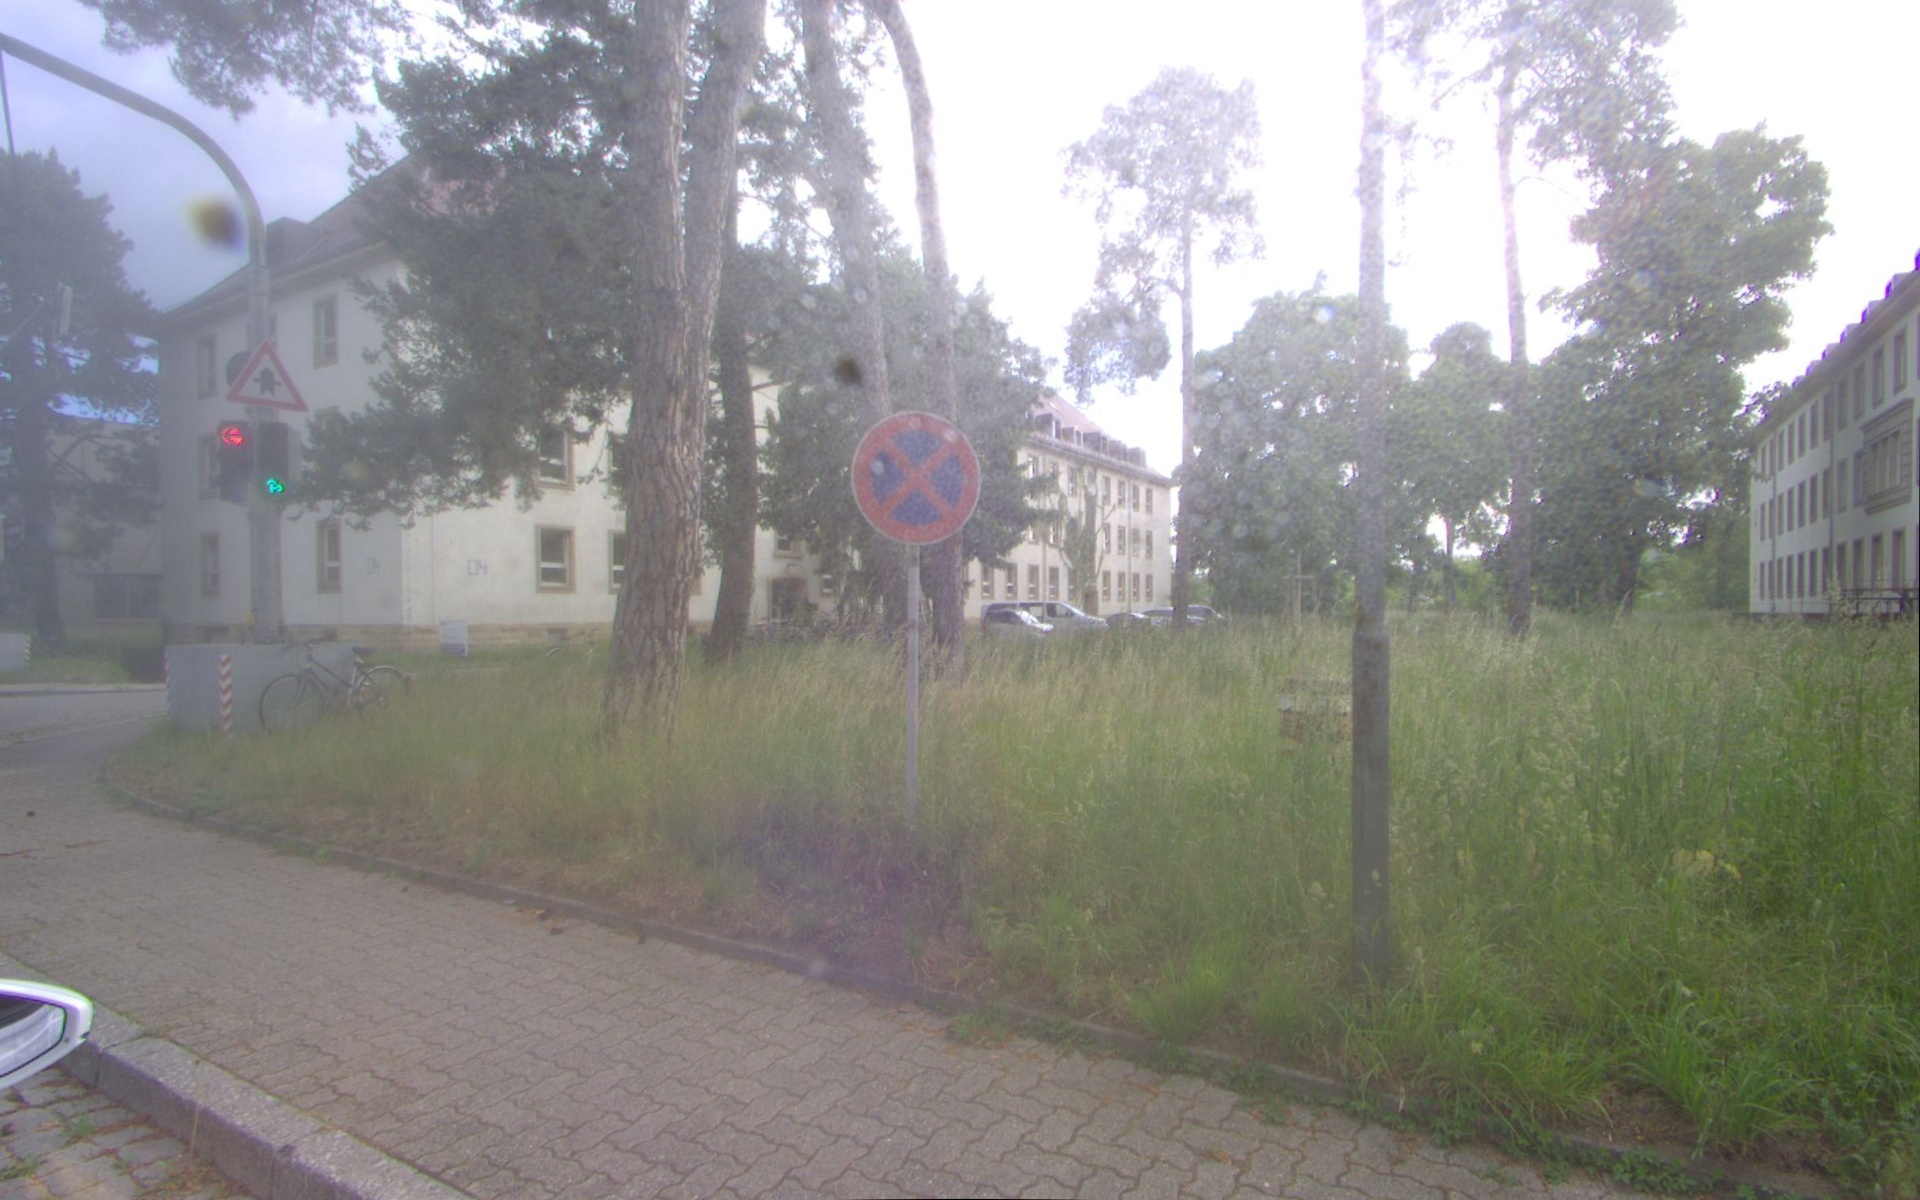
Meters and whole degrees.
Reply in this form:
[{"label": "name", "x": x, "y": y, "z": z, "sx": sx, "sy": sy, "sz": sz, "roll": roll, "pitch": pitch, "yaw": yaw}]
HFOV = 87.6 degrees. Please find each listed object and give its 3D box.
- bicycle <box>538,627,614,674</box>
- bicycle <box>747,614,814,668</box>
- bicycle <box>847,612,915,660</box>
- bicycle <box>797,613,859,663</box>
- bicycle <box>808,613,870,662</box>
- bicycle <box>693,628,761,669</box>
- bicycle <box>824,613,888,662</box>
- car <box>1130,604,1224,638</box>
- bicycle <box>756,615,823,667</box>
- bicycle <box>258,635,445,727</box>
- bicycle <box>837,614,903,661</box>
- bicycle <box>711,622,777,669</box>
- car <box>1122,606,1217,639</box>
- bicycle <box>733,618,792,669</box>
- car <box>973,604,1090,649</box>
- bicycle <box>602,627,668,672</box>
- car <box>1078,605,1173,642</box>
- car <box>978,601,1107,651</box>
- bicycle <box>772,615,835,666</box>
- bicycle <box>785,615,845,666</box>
[{"label": "bicycle", "x": -8.541, "y": 1.110, "z": 22.350, "sx": 0.522, "sy": 0.993, "sz": 1.618, "roll": 0, "pitch": 0, "yaw": 31}, {"label": "bicycle", "x": -4.649, "y": 1.042, "z": 25.850, "sx": 2.021, "sy": 1.337, "sz": 0.436, "roll": 0, "pitch": 0, "yaw": 37}, {"label": "bicycle", "x": -2.368, "y": 1.048, "z": 29.831, "sx": 2.075, "sy": 1.385, "sz": 0.755, "roll": 0, "pitch": 0, "yaw": 37}, {"label": "bicycle", "x": -3.666, "y": 1.025, "z": 27.754, "sx": 1.829, "sy": 1.337, "sz": 0.553, "roll": 0, "pitch": 0, "yaw": 37}, {"label": "bicycle", "x": -3.435, "y": 1.040, "z": 28.327, "sx": 1.913, "sy": 1.337, "sz": 0.551, "roll": 0, "pitch": 0, "yaw": 37}, {"label": "bicycle", "x": -5.705, "y": 1.170, "z": 24.465, "sx": 1.877, "sy": 0.961, "sz": 0.539, "roll": 0, "pitch": 0, "yaw": 37}, {"label": "bicycle", "x": -2.990, "y": 1.057, "z": 28.713, "sx": 1.989, "sy": 1.337, "sz": 0.538, "roll": 0, "pitch": 0, "yaw": 37}, {"label": "car", "x": 11.858, "y": 1.114, "z": 54.815, "sx": 4.629, "sy": 1.796, "sz": 1.989, "roll": 0, "pitch": 0, "yaw": 33}, {"label": "bicycle", "x": -4.515, "y": 1.060, "z": 26.436, "sx": 1.950, "sy": 1.337, "sz": 0.574, "roll": 0, "pitch": 0, "yaw": 37}, {"label": "bicycle", "x": -6.651, "y": 0.855, "z": 11.039, "sx": 0.564, "sy": 0.886, "sz": 1.697, "roll": 0, "pitch": 0, "yaw": 32}, {"label": "bicycle", "x": -2.638, "y": 1.073, "z": 29.162, "sx": 2.104, "sy": 1.337, "sz": 0.553, "roll": 0, "pitch": 0, "yaw": 37}, {"label": "bicycle", "x": -5.408, "y": 1.118, "z": 25.048, "sx": 1.877, "sy": 1.116, "sz": 0.539, "roll": 0, "pitch": 0, "yaw": 37}, {"label": "car", "x": 10.800, "y": 1.143, "z": 51.714, "sx": 4.452, "sy": 1.639, "sz": 1.989, "roll": 0, "pitch": -1, "yaw": 33}, {"label": "bicycle", "x": -5.046, "y": 1.090, "z": 25.503, "sx": 1.618, "sy": 1.231, "sz": 0.539, "roll": 0, "pitch": 0, "yaw": 37}, {"label": "car", "x": 2.589, "y": 0.936, "z": 36.545, "sx": 3.877, "sy": 1.550, "sz": 1.852, "roll": 0, "pitch": 0, "yaw": 34}, {"label": "bicycle", "x": -7.741, "y": 1.170, "z": 23.920, "sx": 0.535, "sy": 1.028, "sz": 1.534, "roll": 0, "pitch": 0, "yaw": 31}, {"label": "car", "x": 7.746, "y": 1.080, "z": 46.990, "sx": 3.943, "sy": 1.639, "sz": 1.989, "roll": 0, "pitch": 0, "yaw": 33}, {"label": "car", "x": 3.330, "y": 1.011, "z": 40.069, "sx": 4.774, "sy": 1.935, "sz": 2.237, "roll": 0, "pitch": 0, "yaw": 17}, {"label": "bicycle", "x": -4.226, "y": 1.077, "z": 26.949, "sx": 1.895, "sy": 1.337, "sz": 0.504, "roll": 0, "pitch": 0, "yaw": 37}, {"label": "bicycle", "x": -3.968, "y": 1.088, "z": 27.318, "sx": 1.893, "sy": 1.337, "sz": 0.390, "roll": 0, "pitch": 0, "yaw": 37}]
